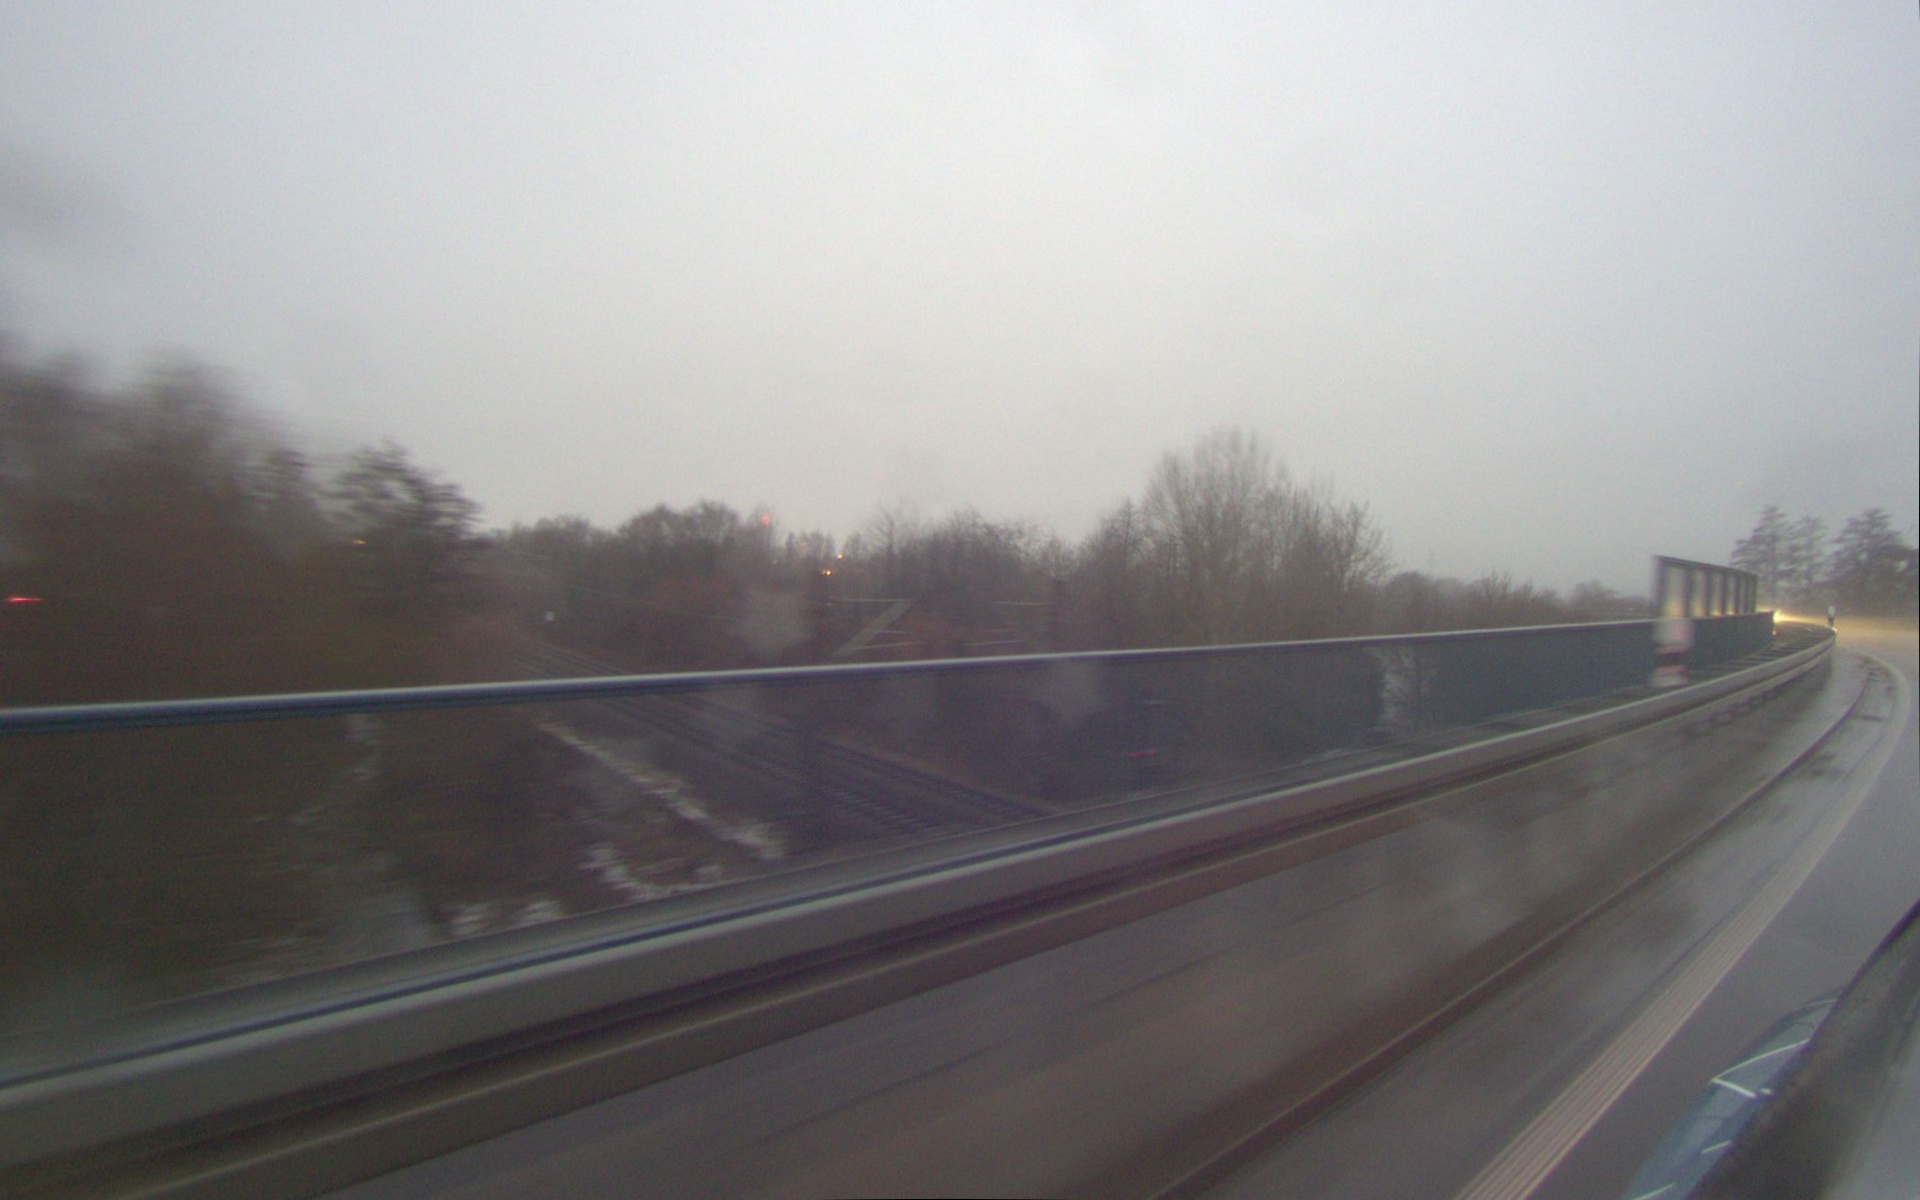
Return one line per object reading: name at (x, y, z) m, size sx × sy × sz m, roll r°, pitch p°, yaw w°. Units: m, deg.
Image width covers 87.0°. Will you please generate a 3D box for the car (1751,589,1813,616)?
car at (52.559, 0.120, 64.816) m, size 2.084 × 1.594 × 4.754 m, roll 3°, pitch 2°, yaw 27°
